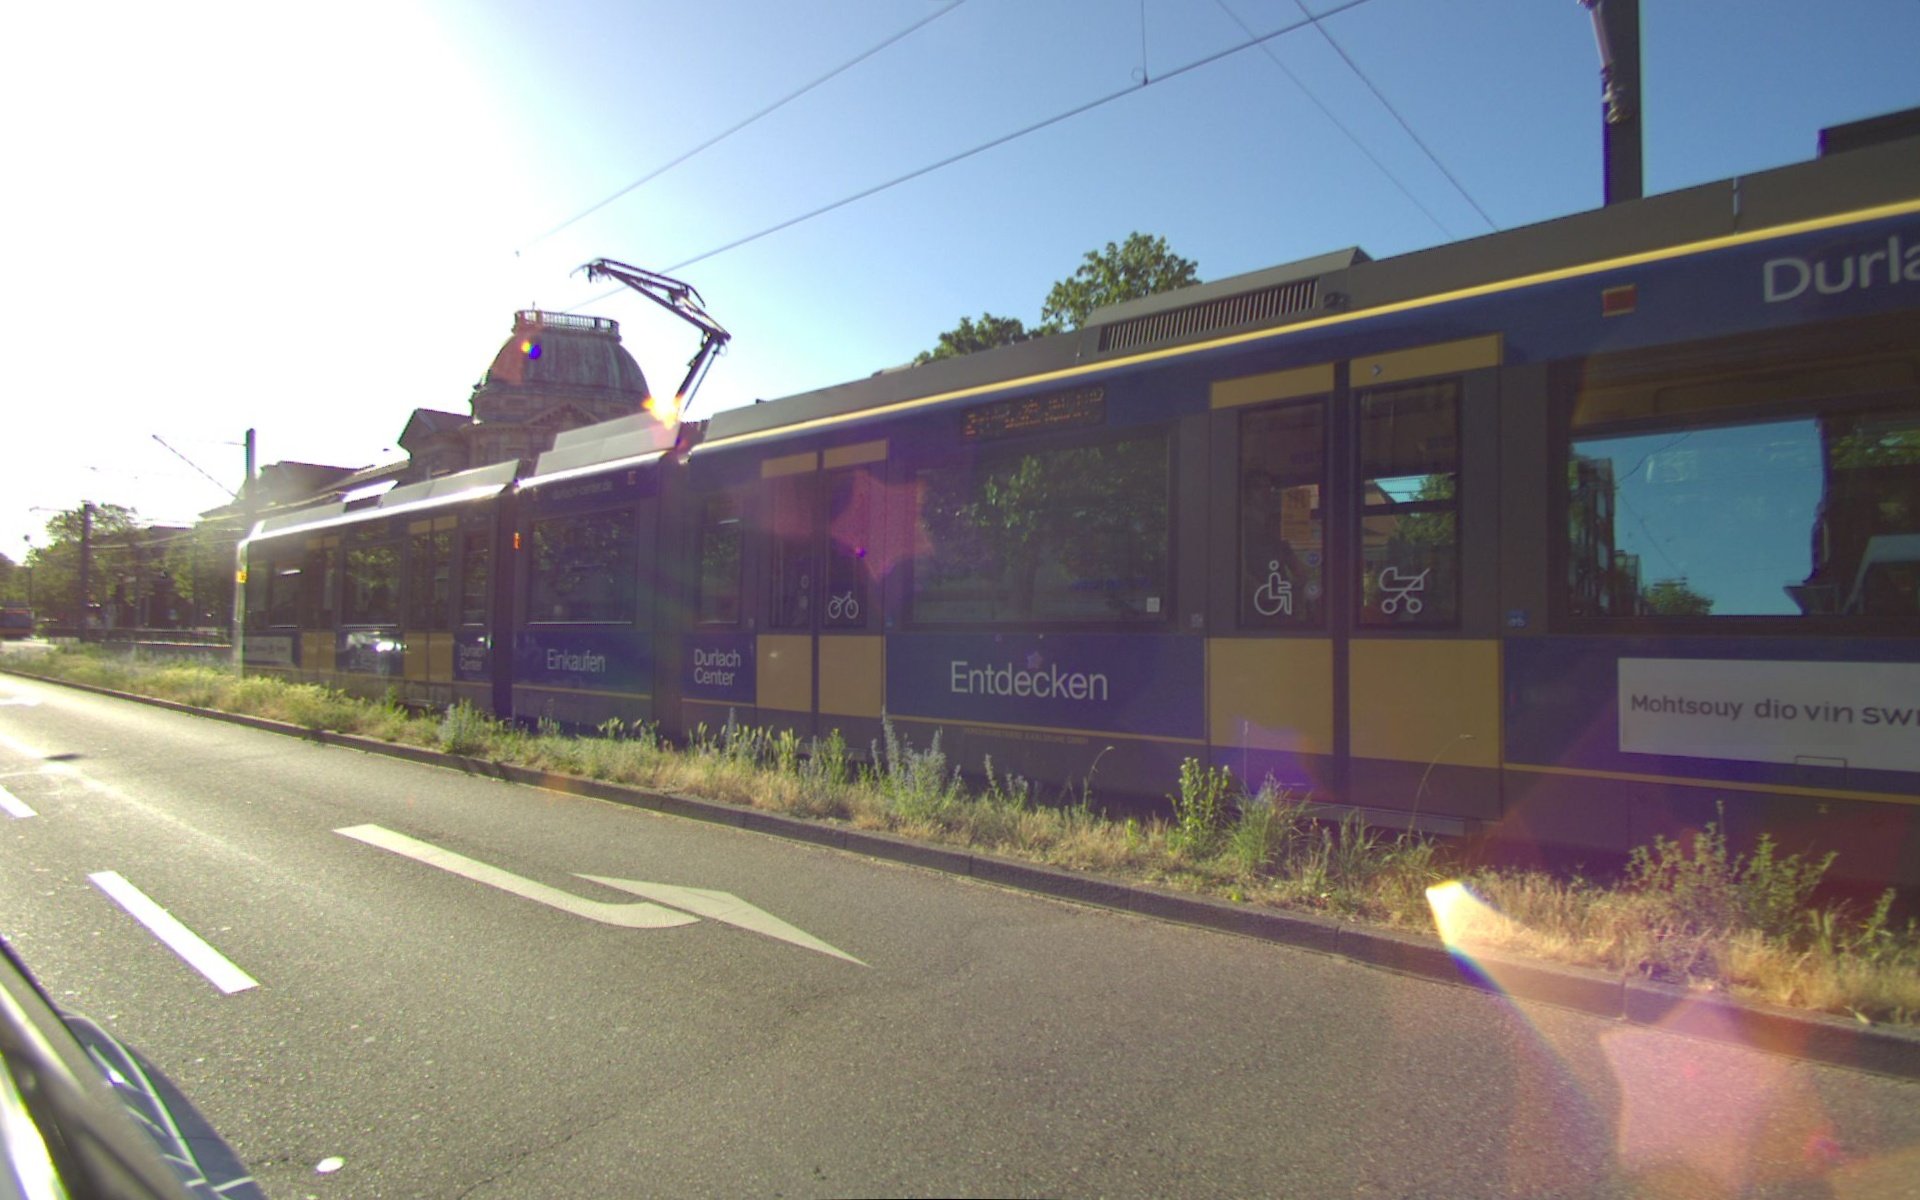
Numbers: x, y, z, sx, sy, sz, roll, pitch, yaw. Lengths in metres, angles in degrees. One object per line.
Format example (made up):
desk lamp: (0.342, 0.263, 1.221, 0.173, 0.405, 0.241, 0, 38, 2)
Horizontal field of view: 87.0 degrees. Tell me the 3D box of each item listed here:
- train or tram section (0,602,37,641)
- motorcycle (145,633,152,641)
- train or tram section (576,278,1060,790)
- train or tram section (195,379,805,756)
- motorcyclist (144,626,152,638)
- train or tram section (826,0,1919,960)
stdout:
train or tram section: (-89.929, 2.080, 95.340, 11.278, 3.510, 2.931, -2, -1, 40)
motorcycle: (-82.288, 3.733, 102.606, 1.522, 0.789, 0.364, -1, 0, 43)
train or tram section: (-1.461, -0.503, 10.142, 3.863, 3.926, 2.925, -1, 0, 41)
train or tram section: (-8.335, -0.243, 16.027, 14.262, 3.840, 2.899, -1, 0, 40)
motorcyclist: (-82.329, 3.239, 102.624, 0.691, 1.267, 0.508, -1, 0, 45)
train or tram section: (4.035, -0.618, 5.372, 10.796, 3.926, 2.922, -1, 0, 41)
